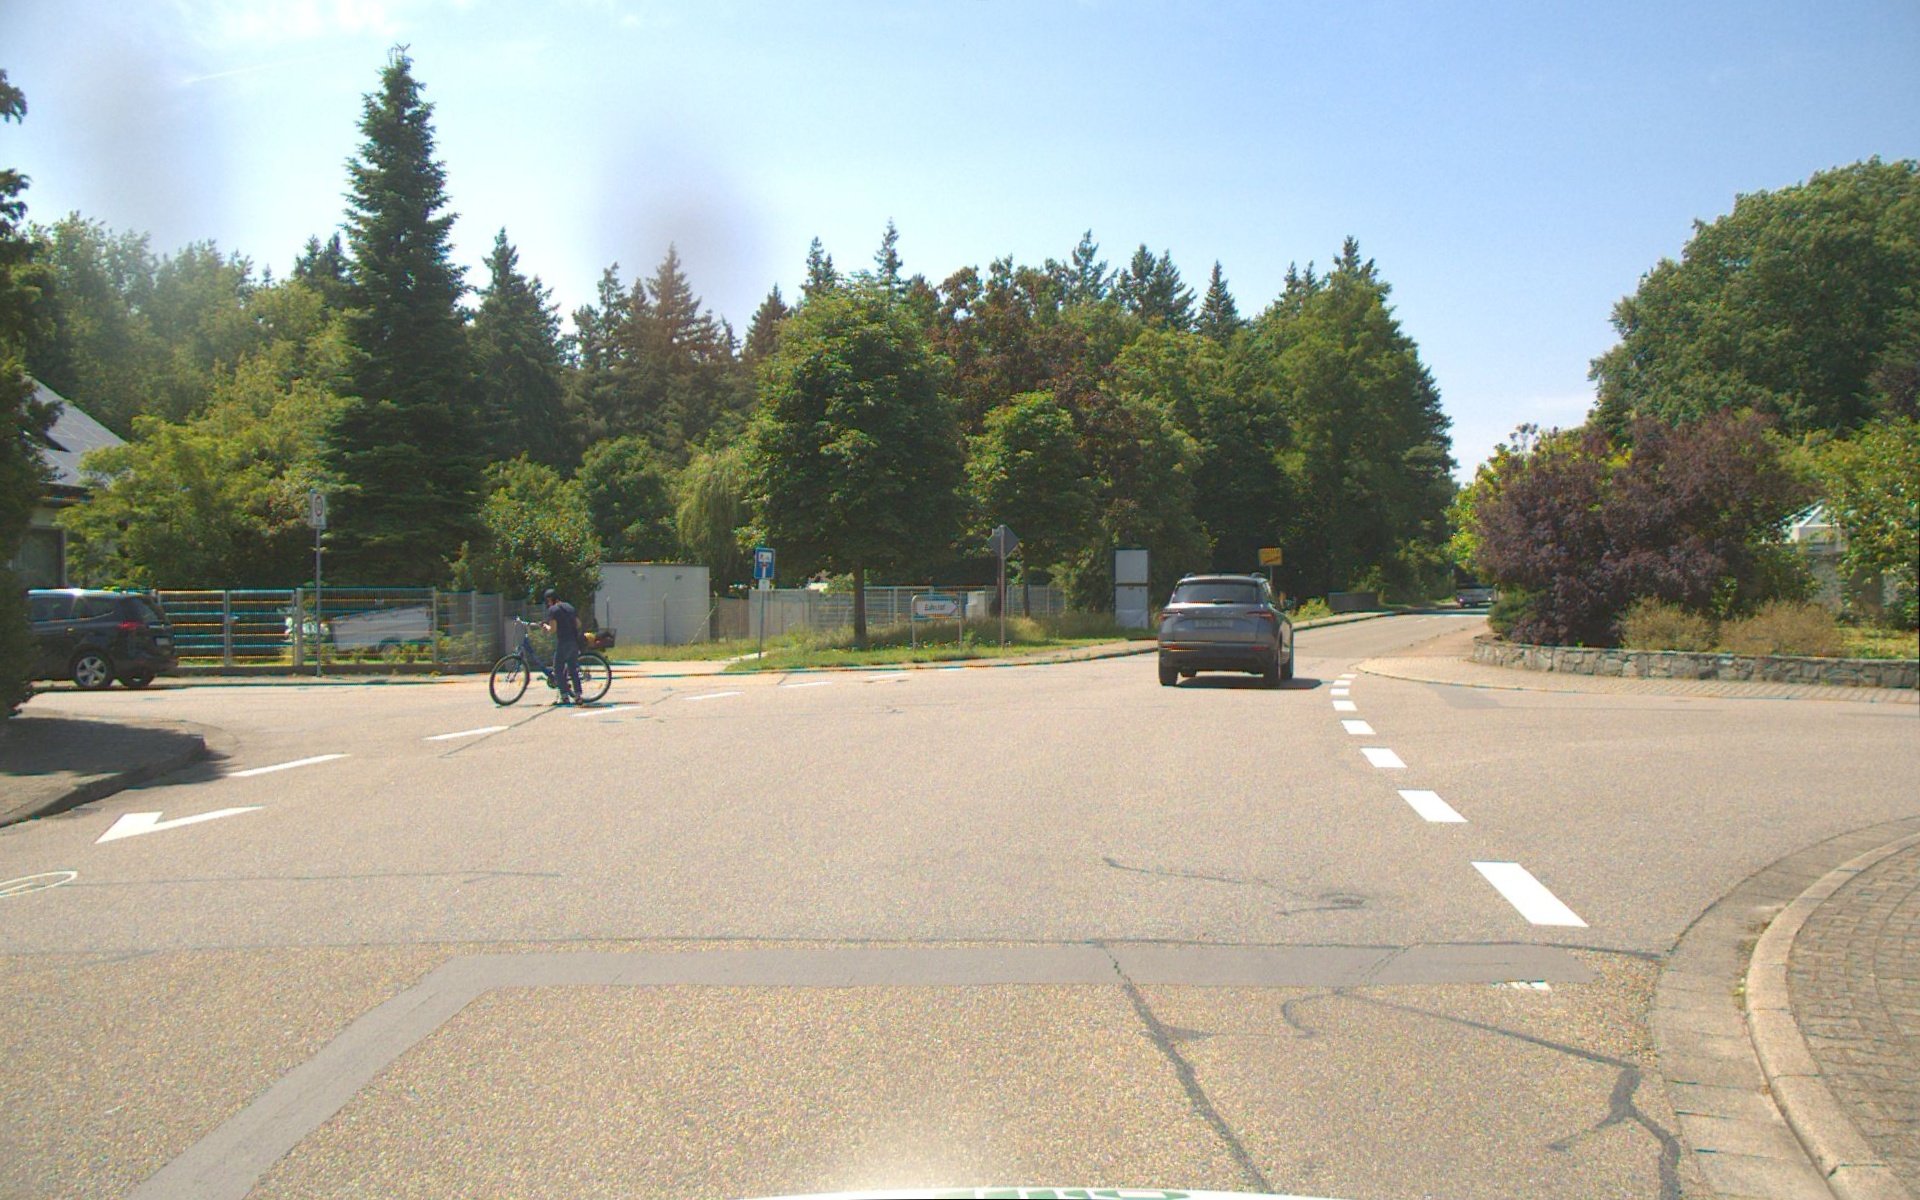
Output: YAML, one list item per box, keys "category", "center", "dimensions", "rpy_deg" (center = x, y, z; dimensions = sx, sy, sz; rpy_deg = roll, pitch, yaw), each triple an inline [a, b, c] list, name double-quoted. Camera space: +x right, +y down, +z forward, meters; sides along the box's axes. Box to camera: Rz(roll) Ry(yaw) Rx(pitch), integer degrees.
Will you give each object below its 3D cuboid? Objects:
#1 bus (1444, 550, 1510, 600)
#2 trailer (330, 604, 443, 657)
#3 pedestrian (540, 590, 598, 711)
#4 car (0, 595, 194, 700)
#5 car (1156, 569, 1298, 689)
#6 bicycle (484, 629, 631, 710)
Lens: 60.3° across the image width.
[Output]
- category: "bus"
  center: [36.640, -1.761, 116.811]
  dimensions: [3.117, 3.301, 12.708]
  rpy_deg: [0, 1, 23]
- category: "trailer"
  center: [-12.456, 0.652, 36.000]
  dimensions: [2.176, 1.103, 1.103]
  rpy_deg: [-1, 1, -12]
- category: "pedestrian"
  center: [-5.044, 0.635, 21.339]
  dimensions: [0.603, 1.527, 0.500]
  rpy_deg: [-1, 0, -29]
- category: "car"
  center: [-15.819, 0.792, 28.172]
  dimensions: [4.574, 1.691, 1.968]
  rpy_deg: [-1, 1, -3]
- category: "car"
  center: [4.115, 0.393, 25.040]
  dimensions: [1.725, 1.646, 4.003]
  rpy_deg: [1, 0, 15]
- category: "bicycle"
  center: [-5.281, 0.902, 21.750]
  dimensions: [1.822, 0.980, 0.439]
  rpy_deg: [-1, 1, -29]
